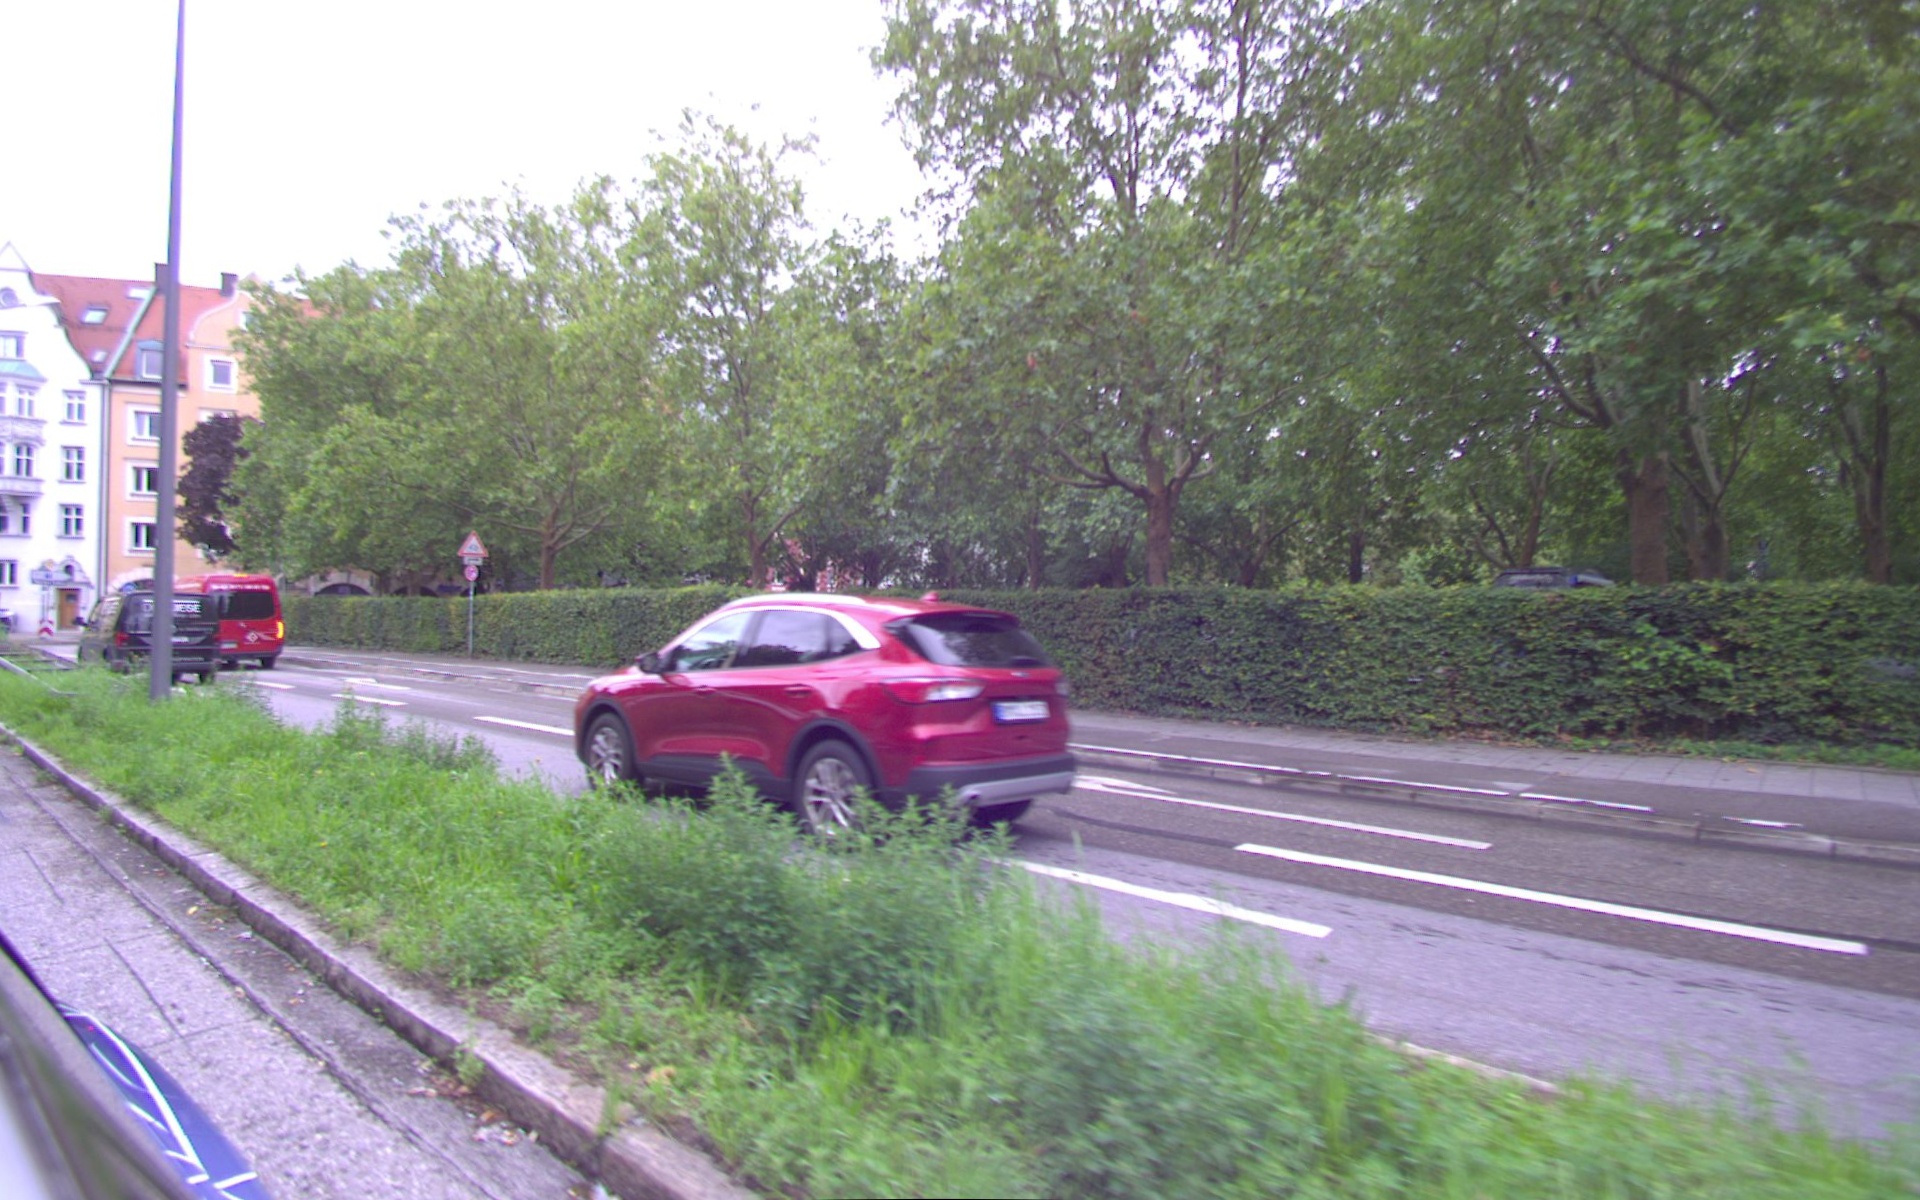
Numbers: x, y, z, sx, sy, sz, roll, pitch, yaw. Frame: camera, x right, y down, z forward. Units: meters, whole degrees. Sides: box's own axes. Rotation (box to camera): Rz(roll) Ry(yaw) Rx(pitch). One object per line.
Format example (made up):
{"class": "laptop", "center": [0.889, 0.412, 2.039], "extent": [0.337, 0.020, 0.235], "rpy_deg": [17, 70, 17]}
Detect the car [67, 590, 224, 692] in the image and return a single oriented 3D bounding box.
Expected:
{"class": "car", "center": [-17.811, 0.852, 22.044], "extent": [4.702, 2.006, 1.838], "rpy_deg": [-1, -2, 41]}

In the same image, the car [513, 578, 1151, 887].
{"class": "car", "center": [-1.226, 0.819, 7.827], "extent": [4.934, 1.650, 2.082], "rpy_deg": [-2, -4, 40]}

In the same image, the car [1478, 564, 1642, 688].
{"class": "car", "center": [14.089, 0.518, 23.581], "extent": [2.001, 2.554, 5.779], "rpy_deg": [0, 0, 44]}

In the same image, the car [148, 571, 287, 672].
{"class": "car", "center": [-21.271, 0.686, 28.880], "extent": [6.081, 2.609, 2.080], "rpy_deg": [-3, -4, 43]}
